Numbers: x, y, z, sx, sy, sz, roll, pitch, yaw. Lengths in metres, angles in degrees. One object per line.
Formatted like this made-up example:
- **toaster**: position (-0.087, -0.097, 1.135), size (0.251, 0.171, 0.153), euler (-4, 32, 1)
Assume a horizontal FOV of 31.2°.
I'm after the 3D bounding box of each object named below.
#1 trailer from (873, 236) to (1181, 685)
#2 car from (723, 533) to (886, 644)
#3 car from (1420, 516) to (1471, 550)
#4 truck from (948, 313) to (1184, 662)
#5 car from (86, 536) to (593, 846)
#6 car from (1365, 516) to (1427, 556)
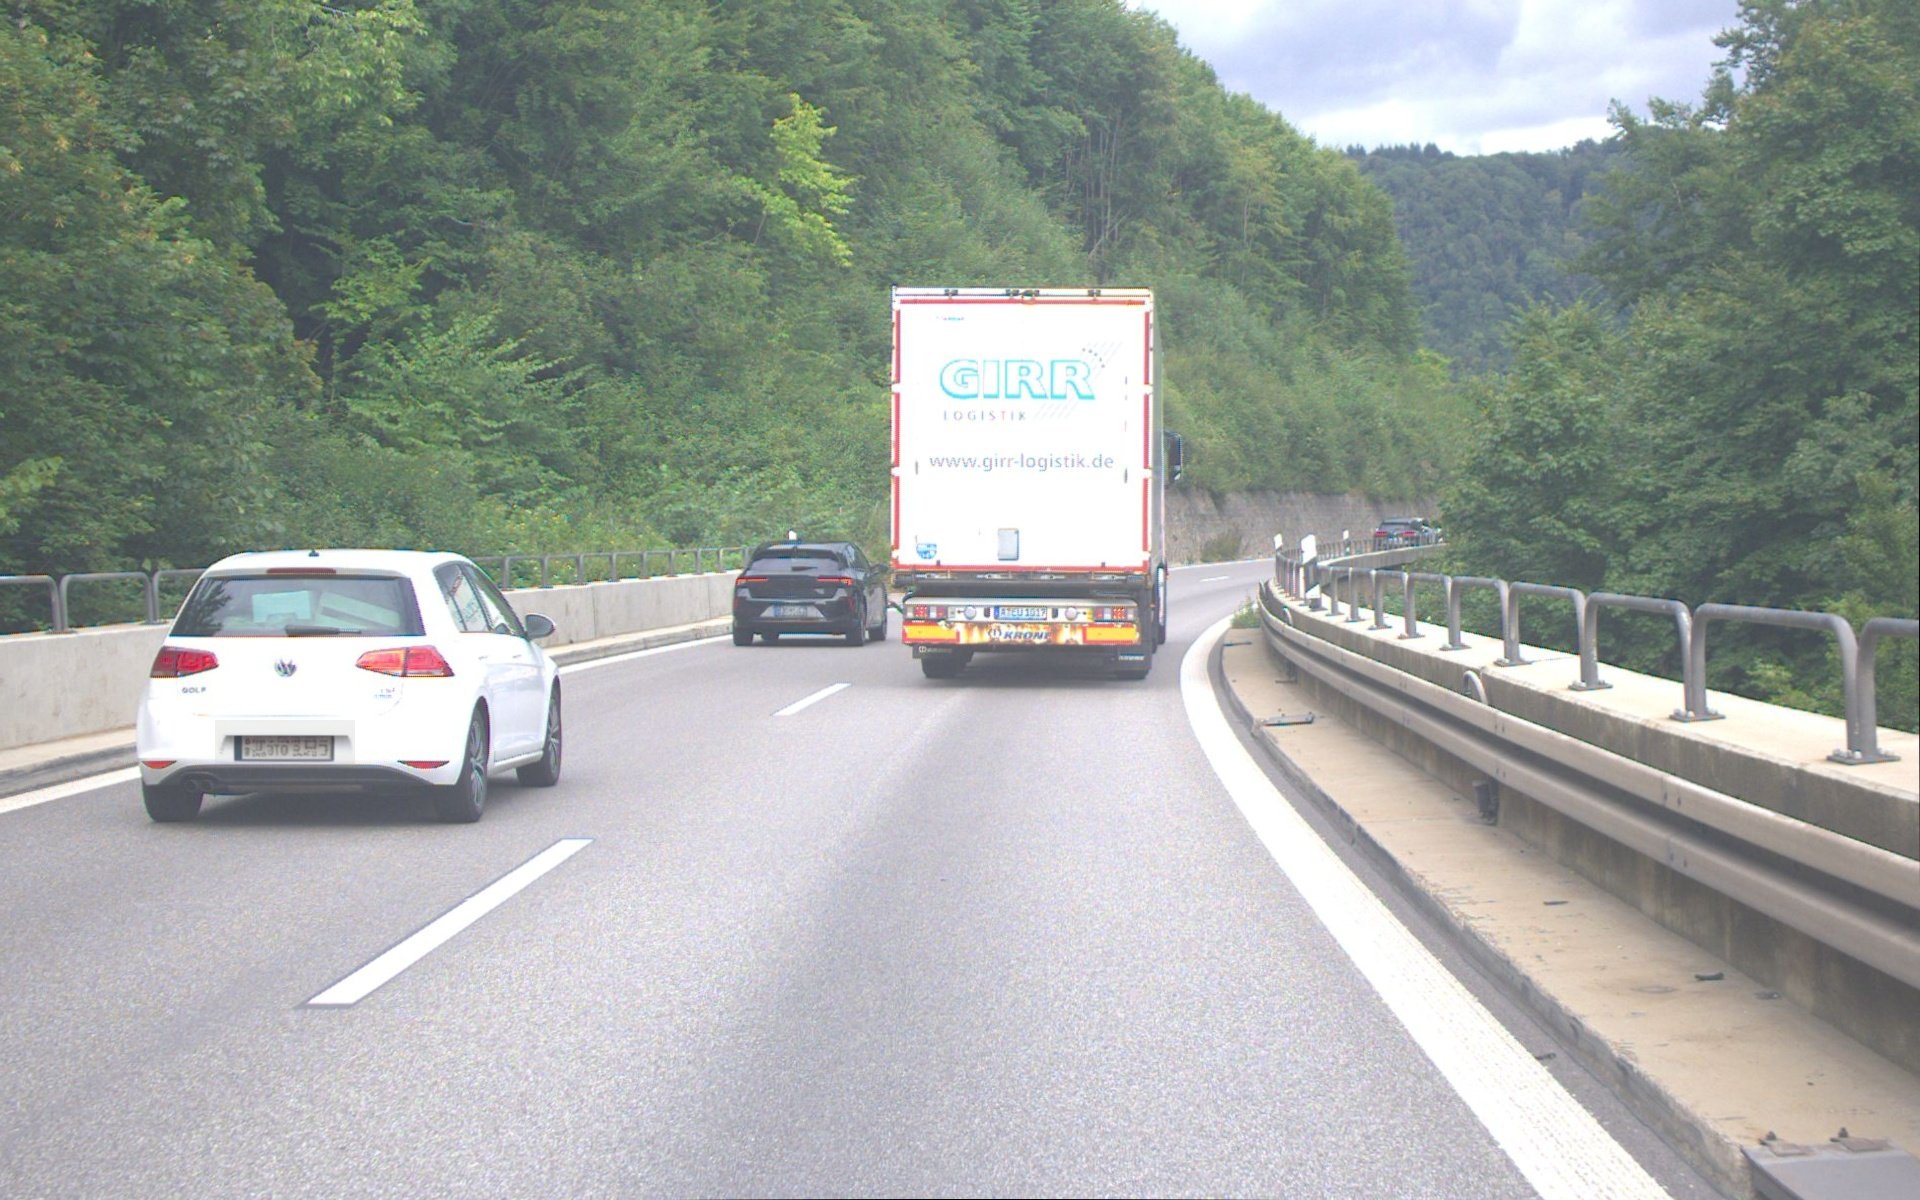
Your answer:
- **trailer**: position (1.038, -1.378, 39.445), size (2.814, 4.288, 12.243), euler (-1, 0, 4)
- **car**: position (-2.111, -0.171, 47.766), size (1.773, 1.456, 4.581), euler (0, 0, 4)
- **car**: position (25.760, -3.555, 182.191), size (1.995, 1.777, 3.997), euler (1, 1, 18)
- **truck**: position (1.517, -1.411, 45.934), size (2.814, 4.288, 6.258), euler (-1, 0, 4)
- **car**: position (-3.331, 0.411, 19.383), size (1.845, 1.476, 4.628), euler (-1, 2, 2)
- **car**: position (18.170, -2.660, 143.225), size (1.995, 1.560, 3.997), euler (-1, 0, 15)
